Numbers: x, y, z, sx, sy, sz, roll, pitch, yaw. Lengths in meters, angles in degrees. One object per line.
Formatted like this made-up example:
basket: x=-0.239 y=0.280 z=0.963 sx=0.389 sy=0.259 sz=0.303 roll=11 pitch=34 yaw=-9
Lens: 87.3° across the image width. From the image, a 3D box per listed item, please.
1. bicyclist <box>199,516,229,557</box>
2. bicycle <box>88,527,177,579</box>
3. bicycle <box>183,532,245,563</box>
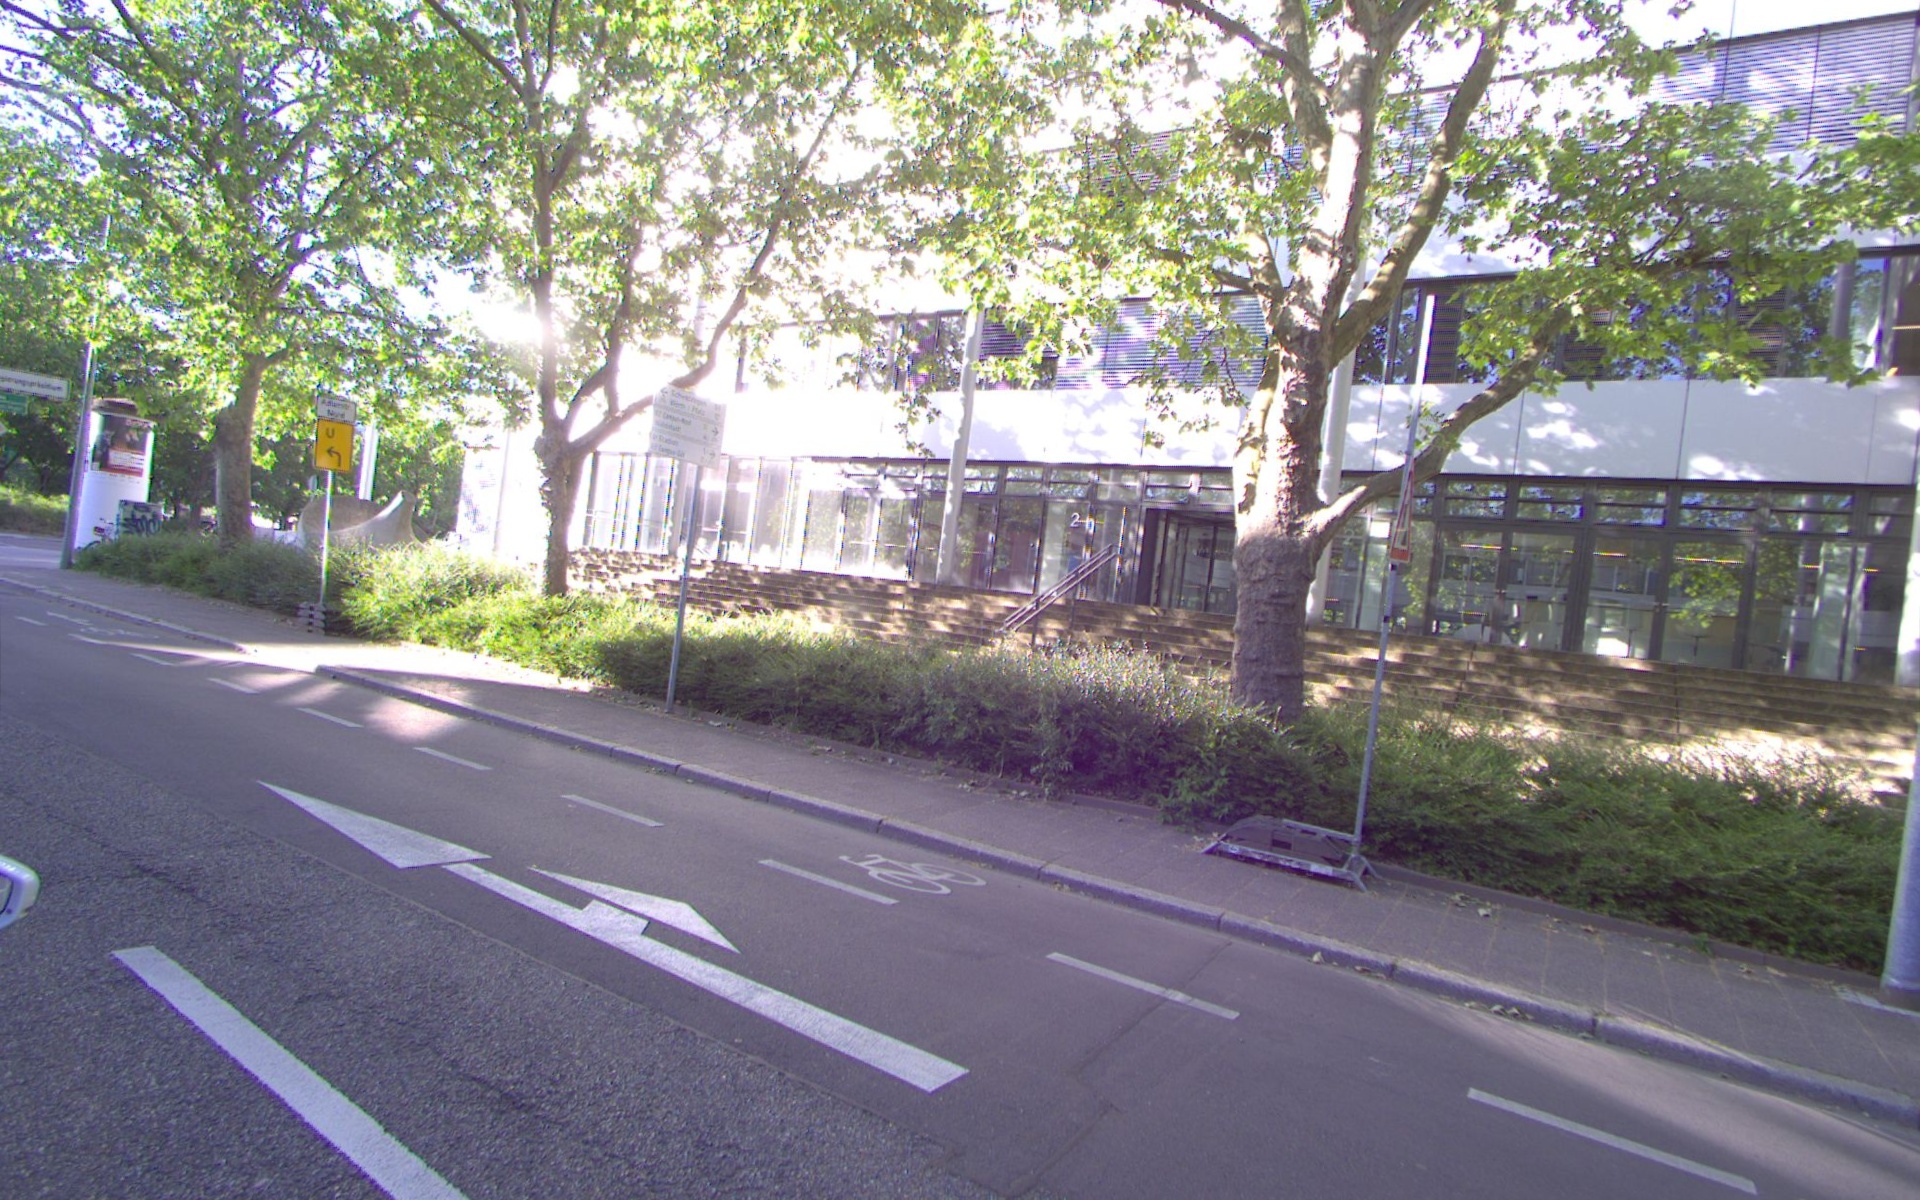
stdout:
bicyclist: x=-31.208 y=-2.656 z=42.080 sx=0.588 sy=1.600 sz=0.730 roll=6 pitch=-1 yaw=38
bicycle: x=-19.045 y=-1.070 z=23.179 sx=0.295 sy=0.991 sz=1.484 roll=6 pitch=-2 yaw=37
bicycle: x=-31.235 y=-2.174 z=42.122 sx=0.592 sy=0.991 sz=1.918 roll=6 pitch=-2 yaw=37
